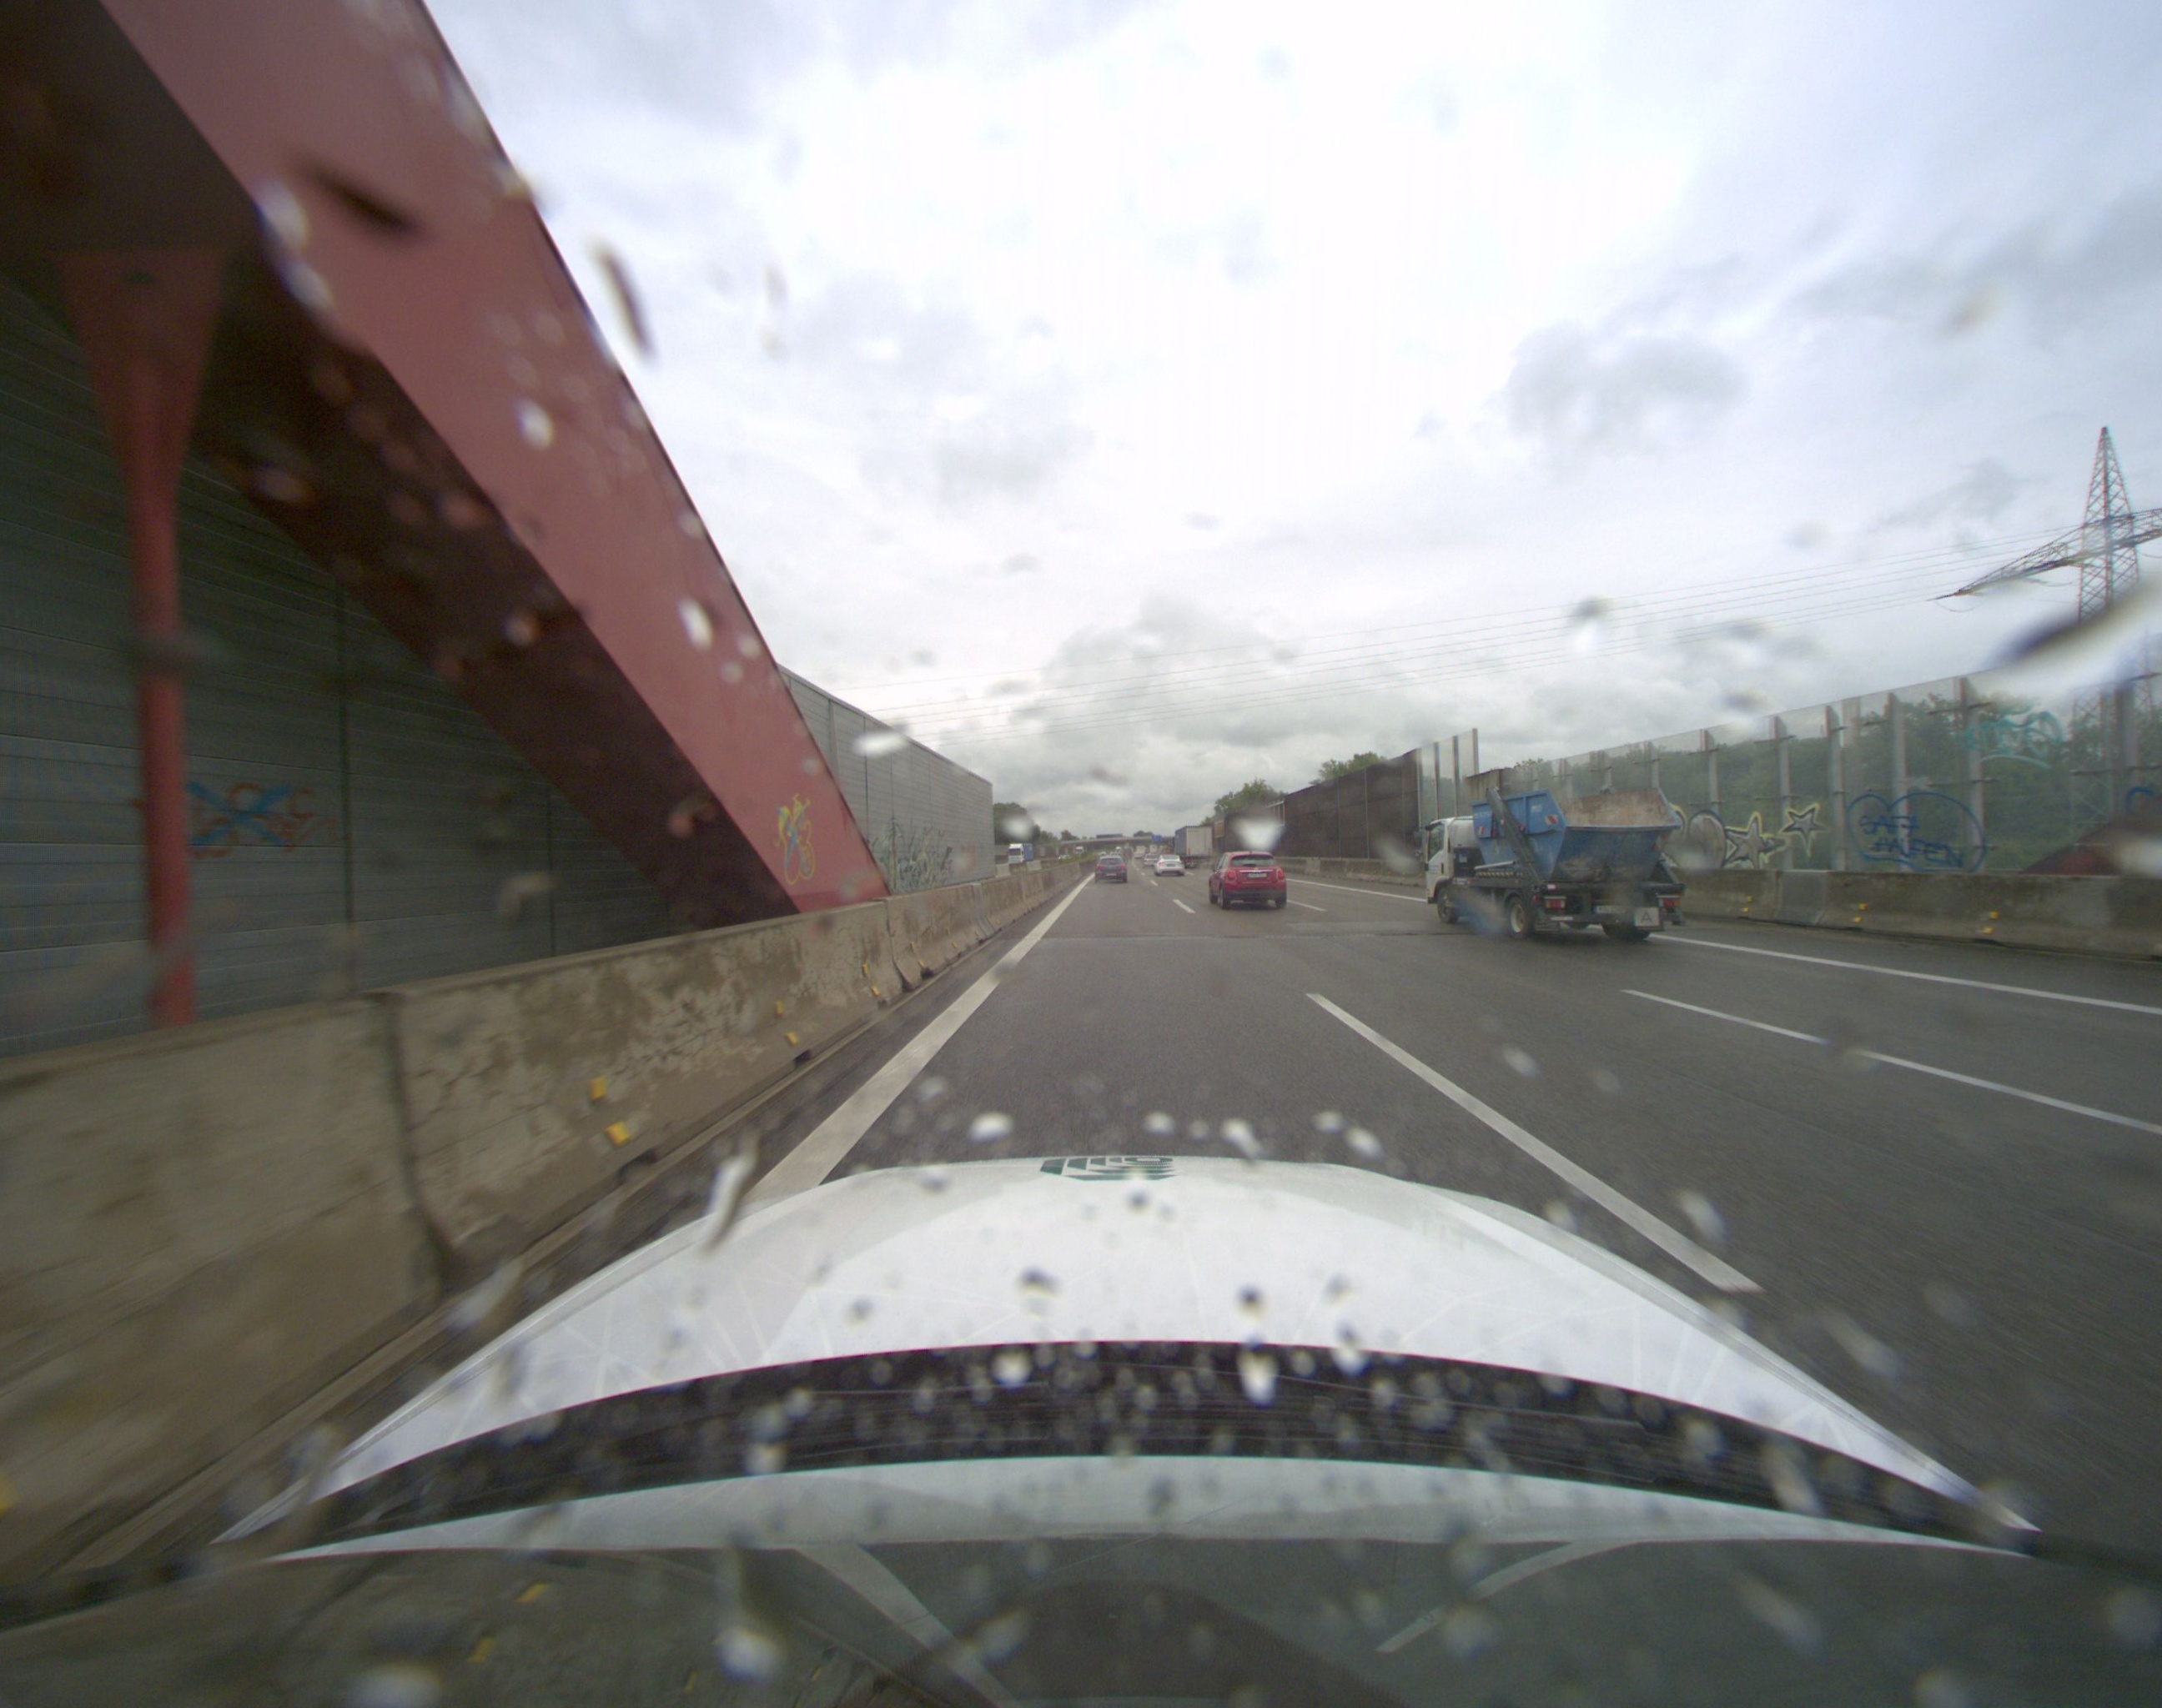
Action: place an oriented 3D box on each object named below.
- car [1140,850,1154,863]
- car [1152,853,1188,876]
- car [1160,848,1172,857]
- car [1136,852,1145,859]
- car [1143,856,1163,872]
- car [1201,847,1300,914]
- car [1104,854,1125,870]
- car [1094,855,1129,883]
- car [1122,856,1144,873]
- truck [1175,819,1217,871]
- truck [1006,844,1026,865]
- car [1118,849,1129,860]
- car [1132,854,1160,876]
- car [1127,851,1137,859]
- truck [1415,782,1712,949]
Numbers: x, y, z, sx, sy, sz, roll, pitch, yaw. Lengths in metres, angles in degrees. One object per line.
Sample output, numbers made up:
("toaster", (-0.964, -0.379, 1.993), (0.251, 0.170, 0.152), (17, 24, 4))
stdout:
("car", (10.668, 0.452, 132.196), (1.987, 2.013, 4.000), (0, 0, 1))
("car", (6.006, 0.699, 55.275), (1.987, 1.486, 3.999), (-1, 0, 0))
("car", (15.487, -0.275, 148.226), (1.986, 1.519, 4.002), (-1, 0, 2))
("car", (13.741, 0.417, 187.659), (1.986, 1.519, 4.002), (-1, 0, 2))
("car", (7.317, 1.037, 82.883), (1.697, 1.543, 3.838), (-1, 0, 0))
("car", (4.742, 0.672, 23.359), (1.951, 1.647, 4.000), (-2, 1, 0))
("car", (3.000, 0.708, 73.375), (1.776, 1.406, 3.626), (-1, 0, 0))
("car", (1.619, 0.773, 44.152), (1.757, 1.453, 4.001), (-1, 0, 1))
("car", (5.478, 1.089, 86.260), (1.987, 1.585, 3.999), (-2, 0, 0))
("truck", (11.034, -0.826, 78.784), (3.034, 4.734, 7.681), (0, 0, 1))
("truck", (-11.872, 0.076, 149.358), (2.981, 3.691, 6.885), (0, 0, 2))
("car", (7.732, 0.080, 148.318), (1.987, 1.815, 4.000), (-1, 0, 1))
("car", (4.898, 0.795, 61.549), (1.985, 1.519, 4.003), (-1, 0, 2))
("car", (11.068, 0.210, 176.339), (1.985, 1.624, 4.003), (-1, 0, 3))
("truck", (8.583, 0.174, 15.447), (2.350, 2.506, 6.151), (-1, 0, 4))
